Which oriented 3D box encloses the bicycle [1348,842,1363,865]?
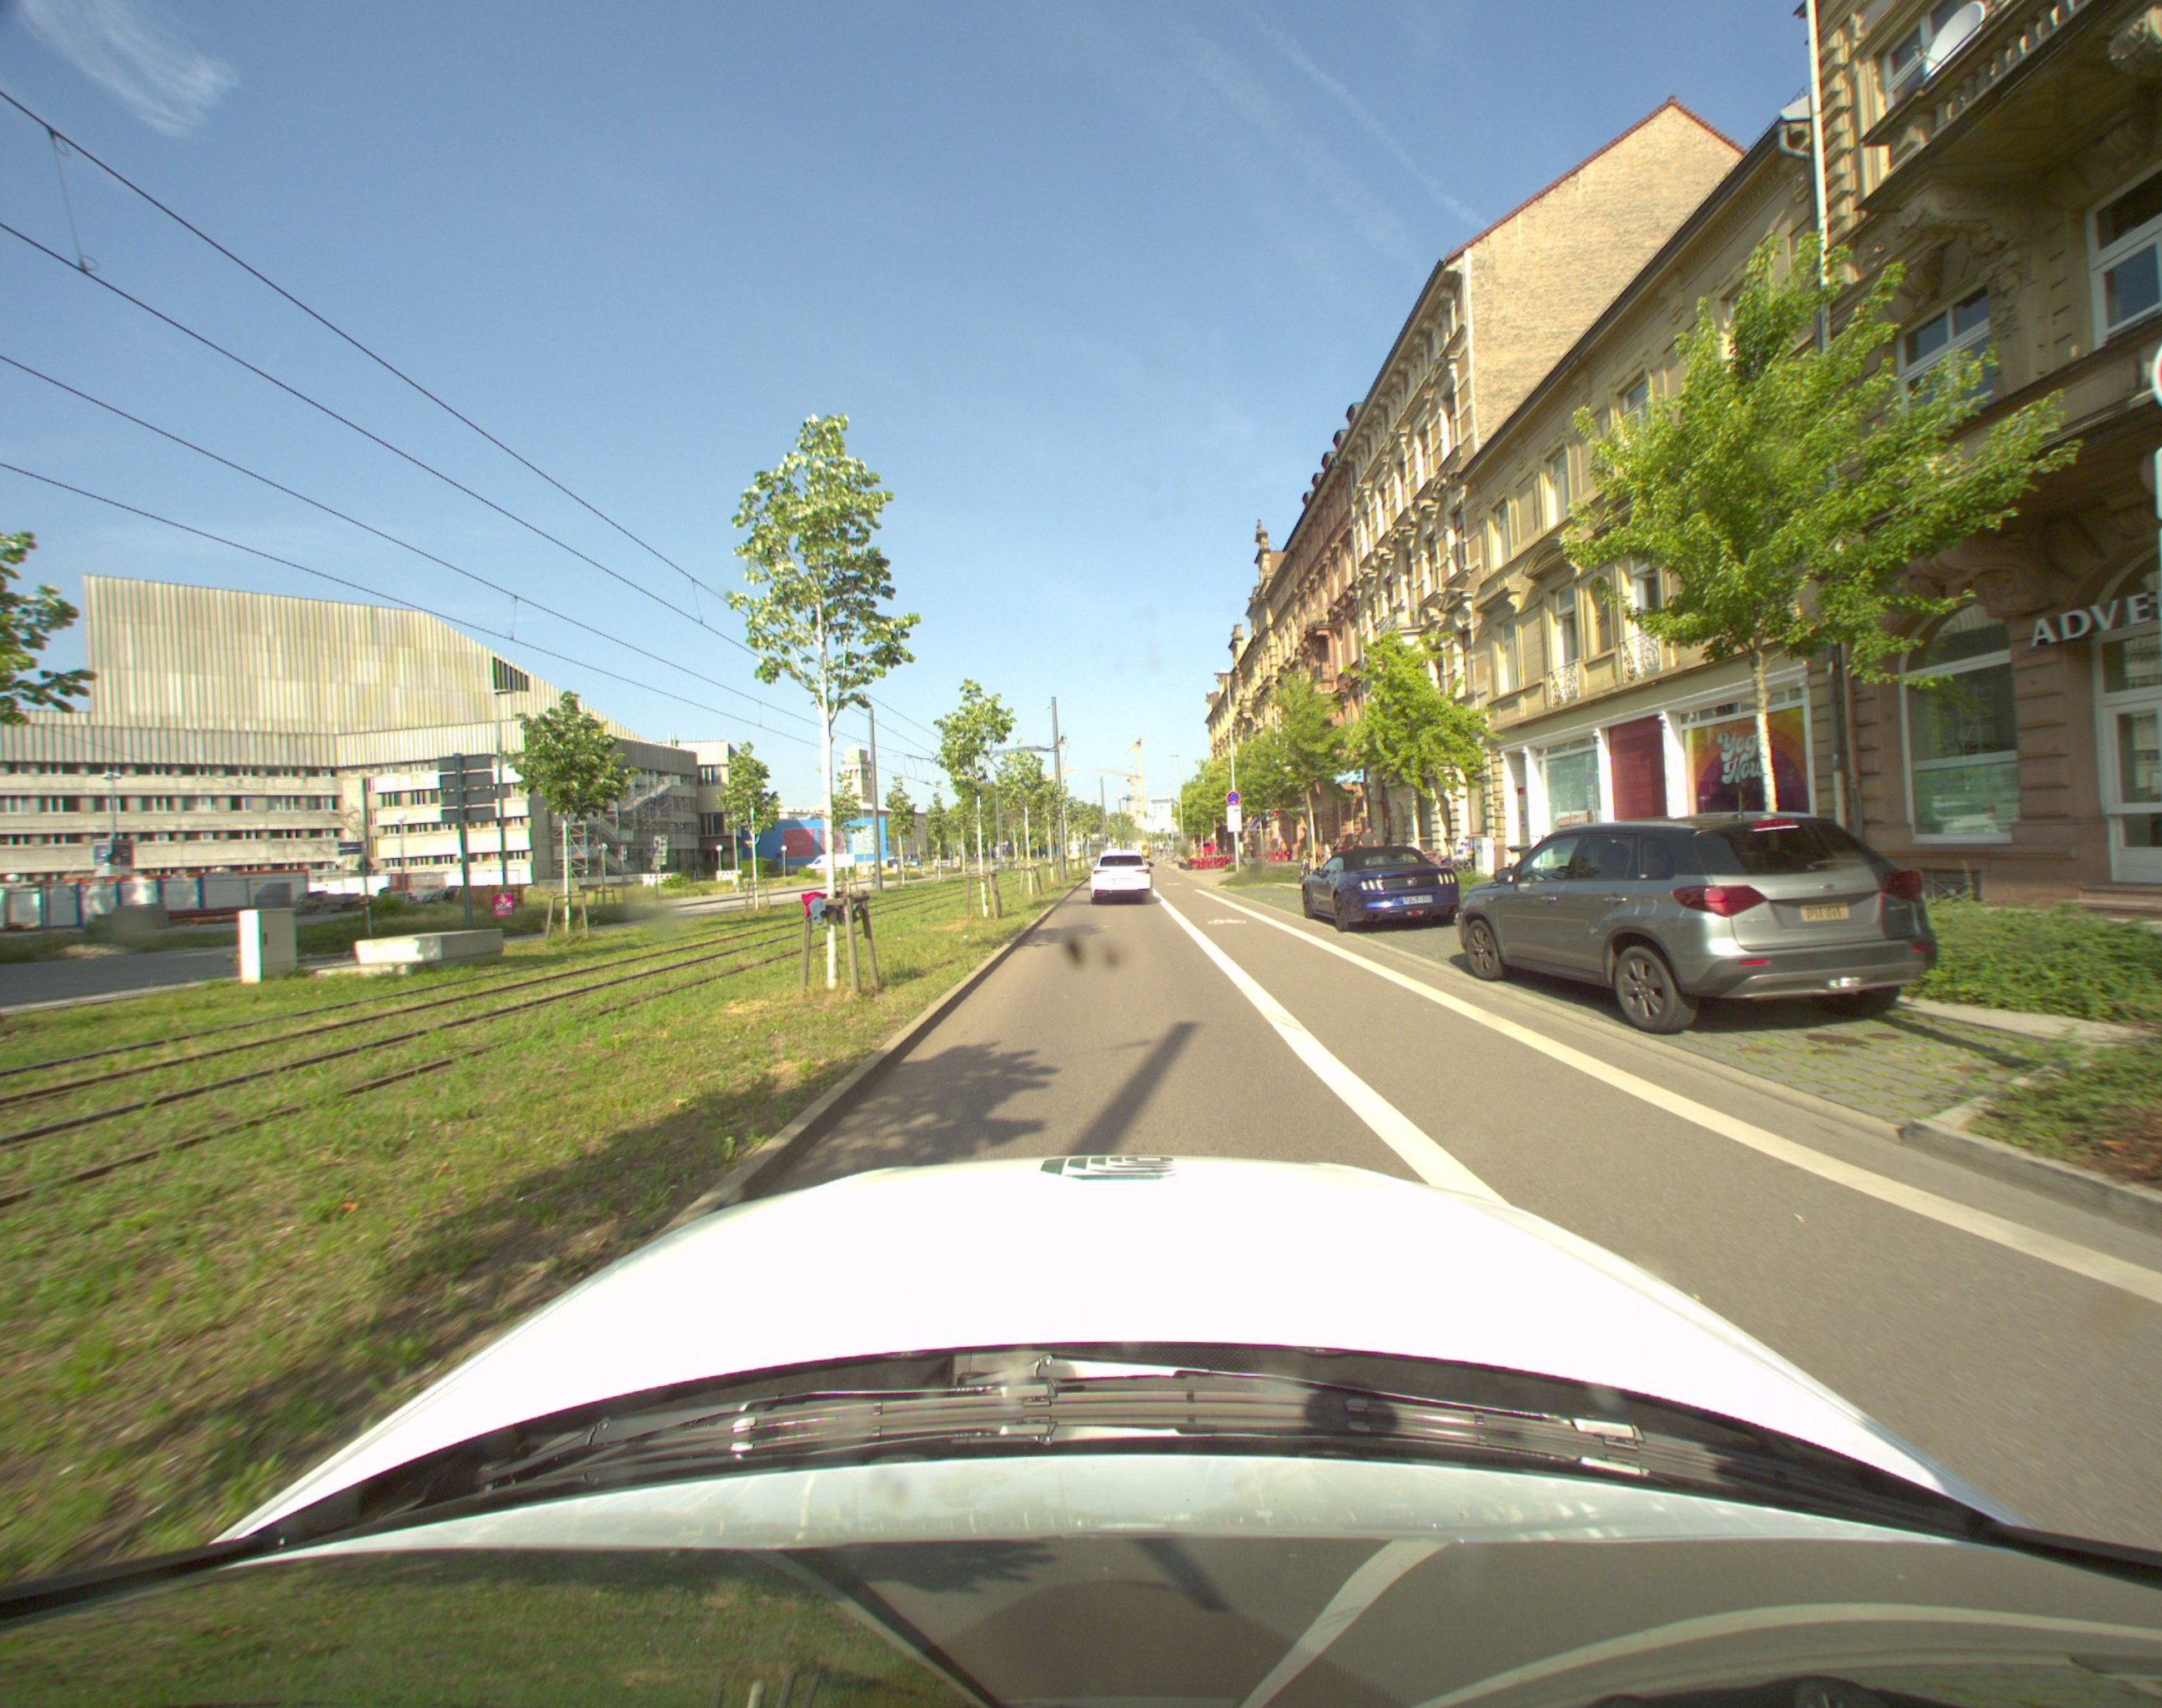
[{"bbox_3d":[12.595,-0.011,37.341,0.394,1.018,1.258,-3,0,8],"label":"bicycle"}]

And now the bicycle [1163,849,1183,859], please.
[{"bbox_3d":[9.280,-0.033,82.505,1.926,0.874,0.441,-5,0,4],"label":"bicycle"}]

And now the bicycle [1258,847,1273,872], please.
[{"bbox_3d":[8.706,0.245,38.411,0.501,1.060,1.721,-5,1,17],"label":"bicycle"}]

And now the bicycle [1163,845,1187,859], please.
[{"bbox_3d":[9.139,-0.199,79.413,2.229,1.104,0.589,-5,0,4],"label":"bicycle"}]

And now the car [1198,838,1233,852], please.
[{"bbox_3d":[17.378,-1.170,105.511,4.329,1.684,2.005,-3,0,8],"label":"car"}]

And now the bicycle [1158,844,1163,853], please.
[{"bbox_3d":[14.264,-1.043,145.848,0.778,1.496,2.804,-3,1,4],"label":"bicycle"}]

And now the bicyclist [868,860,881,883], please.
[{"bbox_3d":[-16.092,1.328,63.423,0.644,1.736,0.919,-4,0,2],"label":"bicyclist"}]

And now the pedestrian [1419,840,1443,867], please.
[{"bbox_3d":[12.188,-0.019,28.386,0.569,0.854,0.457,-5,0,-3],"label":"pedestrian"}]

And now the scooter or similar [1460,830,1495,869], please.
[{"bbox_3d":[12.116,-0.137,24.925,0.604,1.125,0.932,-3,0,3],"label":"scooter or similar"}]

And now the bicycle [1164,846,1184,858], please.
[{"bbox_3d":[9.277,-0.176,81.301,1.946,0.986,0.471,-5,0,4],"label":"bicycle"}]

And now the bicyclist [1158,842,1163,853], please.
[{"bbox_3d":[14.242,-1.203,145.687,0.706,1.895,0.844,-3,0,4],"label":"bicyclist"}]

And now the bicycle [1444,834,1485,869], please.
[{"bbox_3d":[12.293,-0.088,26.154,0.450,1.083,1.445,-3,0,-7],"label":"bicycle"}]

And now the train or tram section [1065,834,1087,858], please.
[{"bbox_3d":[-0.803,-1.302,136.752,2.887,3.586,12.483,-3,0,2],"label":"train or tram section"}]

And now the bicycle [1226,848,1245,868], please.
[{"bbox_3d":[8.815,0.216,46.515,0.594,1.122,1.924,-3,0,-4],"label":"bicycle"}]

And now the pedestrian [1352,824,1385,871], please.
[{"bbox_3d":[10.729,-0.243,30.436,0.820,1.696,0.793,-5,0,-2],"label":"pedestrian"}]

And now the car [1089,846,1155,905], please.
[{"bbox_3d":[1.260,0.583,25.136,1.810,1.590,4.410,-2,0,3],"label":"car"}]

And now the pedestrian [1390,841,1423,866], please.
[{"bbox_3d":[12.053,-0.021,30.166,0.875,0.876,0.711,-5,0,-1],"label":"pedestrian"}]

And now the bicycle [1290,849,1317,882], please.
[{"bbox_3d":[7.804,0.391,28.610,0.490,1.093,1.828,-3,0,3],"label":"bicycle"}]

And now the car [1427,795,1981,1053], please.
[{"bbox_3d":[5.060,0.444,7.541,1.764,1.588,4.246,-4,0,-1],"label":"car"}]

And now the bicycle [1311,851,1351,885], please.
[{"bbox_3d":[8.517,0.469,27.699,0.449,1.082,1.889,-5,-2,44],"label":"bicycle"}]

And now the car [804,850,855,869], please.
[{"bbox_3d":[-35.911,0.828,116.502,6.894,2.638,2.499,-1,0,-19],"label":"car"}]

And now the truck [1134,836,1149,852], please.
[{"bbox_3d":[9.454,-1.540,126.250,2.202,2.318,5.898,-3,0,5],"label":"truck"}]

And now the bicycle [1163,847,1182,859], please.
[{"bbox_3d":[9.439,-0.111,84.155,1.924,1.013,0.441,-5,0,6],"label":"bicycle"}]

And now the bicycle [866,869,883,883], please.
[{"bbox_3d":[-16.052,1.684,63.388,0.659,0.961,2.080,-4,0,3],"label":"bicycle"}]

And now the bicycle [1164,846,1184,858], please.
[{"bbox_3d":[9.226,-0.176,80.822,1.926,0.986,0.471,-5,0,4],"label":"bicycle"}]

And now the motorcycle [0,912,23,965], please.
[{"bbox_3d":[-29.826,2.332,21.389,2.307,1.369,0.809,-3,0,-35],"label":"motorcycle"}]

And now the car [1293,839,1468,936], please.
[{"bbox_3d":[5.313,0.502,15.141,1.729,1.396,4.720,-4,0,4],"label":"car"}]

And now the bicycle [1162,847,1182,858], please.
[{"bbox_3d":[9.462,-0.191,84.652,1.924,0.945,0.441,-5,0,6],"label":"bicycle"}]

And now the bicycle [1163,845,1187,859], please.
[{"bbox_3d":[9.192,-0.199,79.967,2.229,1.104,0.519,-5,0,4],"label":"bicycle"}]

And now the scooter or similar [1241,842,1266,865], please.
[{"bbox_3d":[9.630,-0.007,45.414,1.250,1.157,0.340,-5,0,6],"label":"scooter or similar"}]

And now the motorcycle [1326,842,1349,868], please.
[{"bbox_3d":[12.277,0.032,39.049,0.461,1.175,1.947,-5,0,3],"label":"motorcycle"}]
